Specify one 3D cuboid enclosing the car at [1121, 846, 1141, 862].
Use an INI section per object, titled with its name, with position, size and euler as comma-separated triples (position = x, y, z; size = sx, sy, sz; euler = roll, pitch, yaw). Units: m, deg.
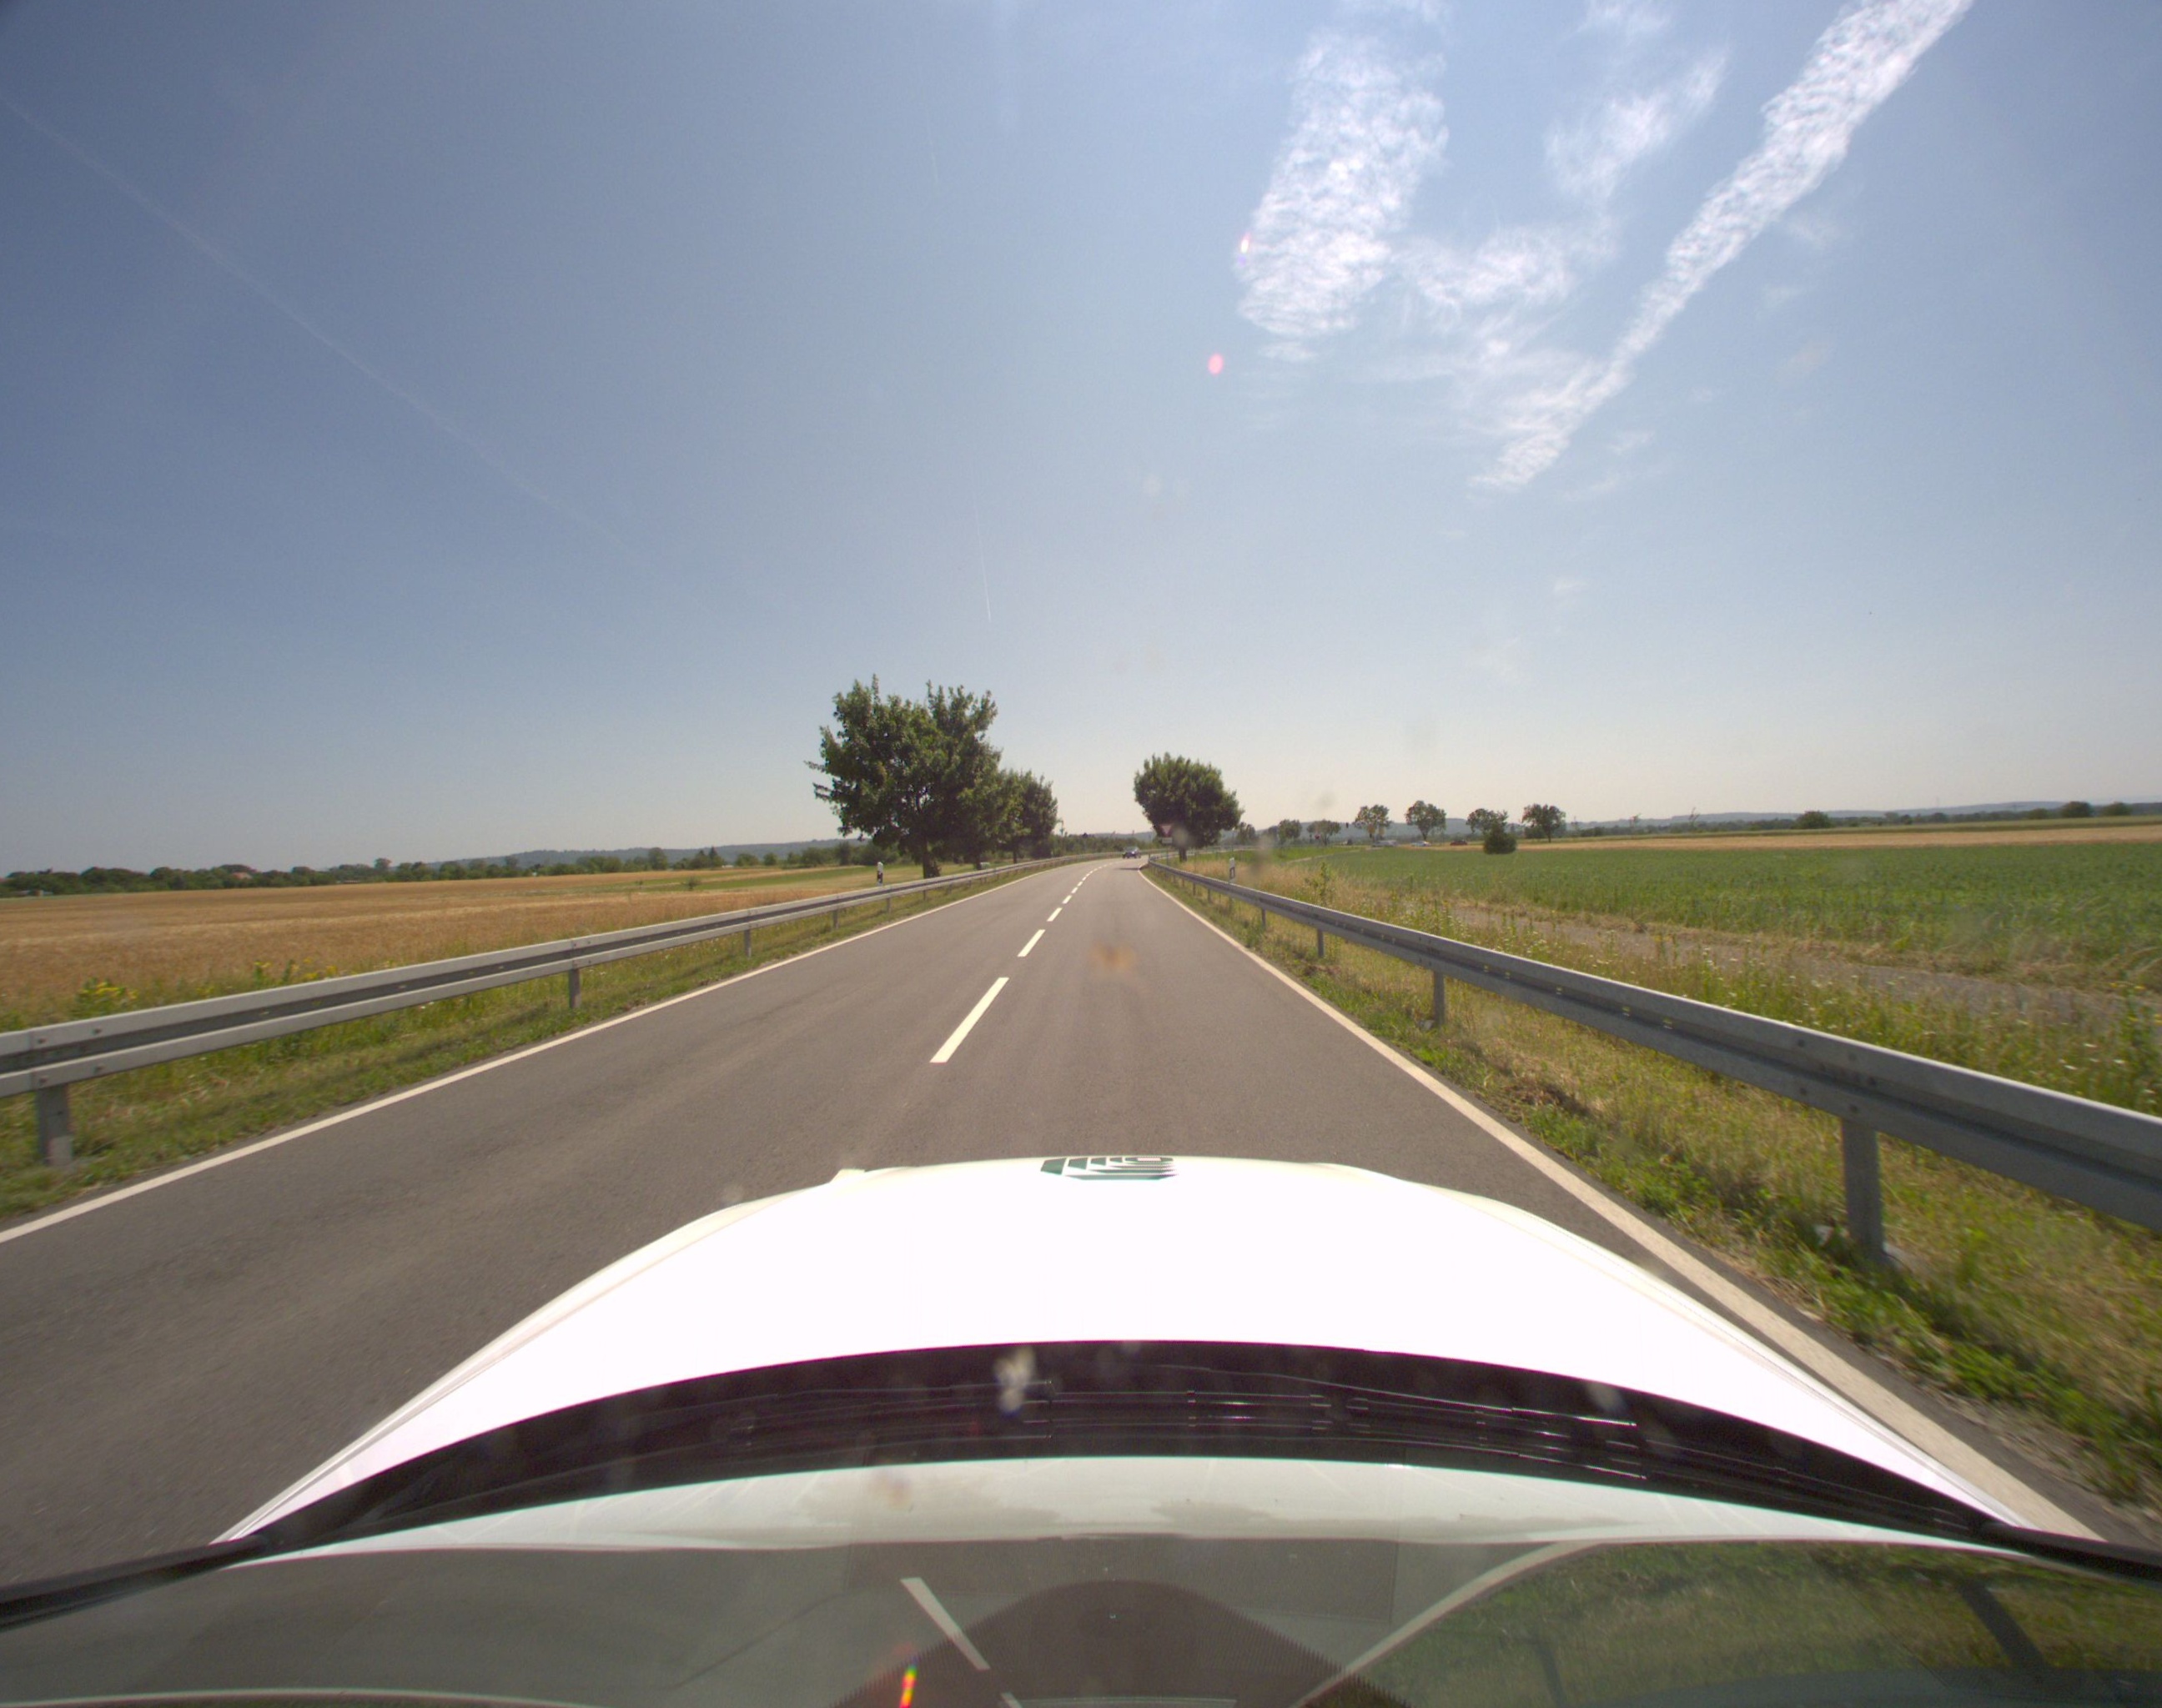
[car]
position = 6.465, -0.007, 105.908
size = 1.980, 2.014, 4.014
euler = 0, -1, 13
